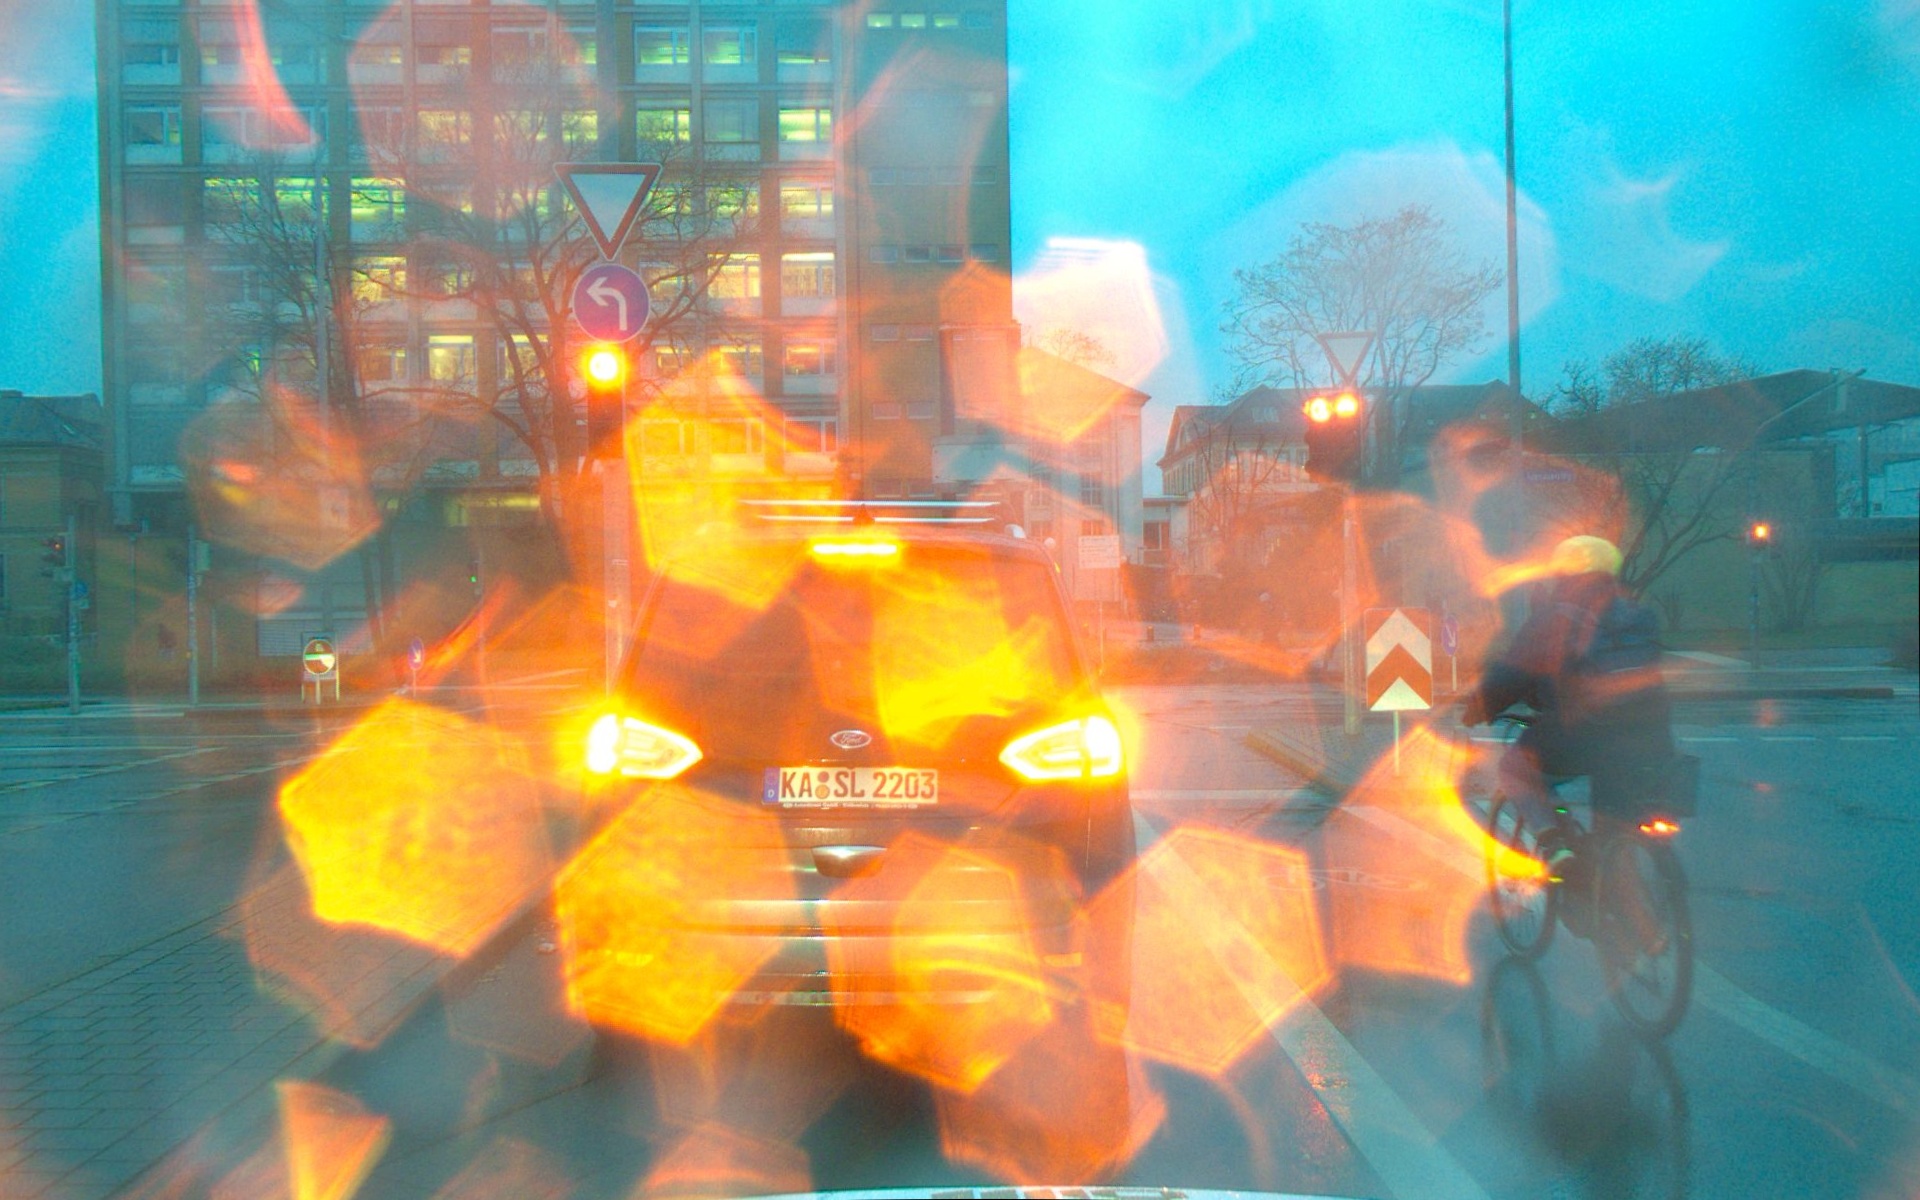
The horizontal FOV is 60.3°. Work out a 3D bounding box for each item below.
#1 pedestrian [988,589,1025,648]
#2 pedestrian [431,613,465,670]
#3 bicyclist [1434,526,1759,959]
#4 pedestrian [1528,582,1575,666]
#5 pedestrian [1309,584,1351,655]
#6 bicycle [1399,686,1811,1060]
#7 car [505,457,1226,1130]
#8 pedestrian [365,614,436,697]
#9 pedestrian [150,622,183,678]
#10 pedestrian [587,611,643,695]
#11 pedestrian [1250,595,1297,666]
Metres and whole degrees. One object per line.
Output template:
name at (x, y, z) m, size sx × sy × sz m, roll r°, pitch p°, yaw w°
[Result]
pedestrian at (1.345, 0.542, 47.654) m, size 0.752 × 1.656 × 0.714 m, roll -2°, pitch 0°, yaw -31°
pedestrian at (-15.167, 1.218, 48.997) m, size 0.743 × 1.656 × 0.558 m, roll -2°, pitch 0°, yaw 14°
bicyclist at (2.354, 0.494, 6.261) m, size 0.767 × 1.478 × 1.133 m, roll 1°, pitch 0°, yaw -1°
pedestrian at (15.379, 0.610, 43.040) m, size 0.864 × 2.150 × 0.896 m, roll -2°, pitch 0°, yaw 2°
pedestrian at (9.797, 0.514, 43.815) m, size 0.975 × 1.831 × 0.920 m, roll -2°, pitch 0°, yaw 8°
bicycle at (2.330, 0.927, 6.279) m, size 0.767 × 1.094 × 1.956 m, roll 1°, pitch 0°, yaw -1°
car at (-0.282, 0.544, 6.547) m, size 1.953 × 1.821 × 3.999 m, roll 1°, pitch 0°, yaw -1°
pedestrian at (-13.286, 1.311, 39.303) m, size 0.982 × 1.874 × 1.138 m, roll -1°, pitch 3°, yaw 27°
pedestrian at (-25.090, 1.574, 52.274) m, size 0.625 × 1.718 × 0.637 m, roll -2°, pitch 0°, yaw 16°
pedestrian at (-8.544, 1.296, 40.978) m, size 0.911 × 2.013 × 0.957 m, roll -2°, pitch 1°, yaw 34°
pedestrian at (8.046, 0.770, 42.502) m, size 1.111 × 1.750 × 0.982 m, roll -2°, pitch 0°, yaw 10°
